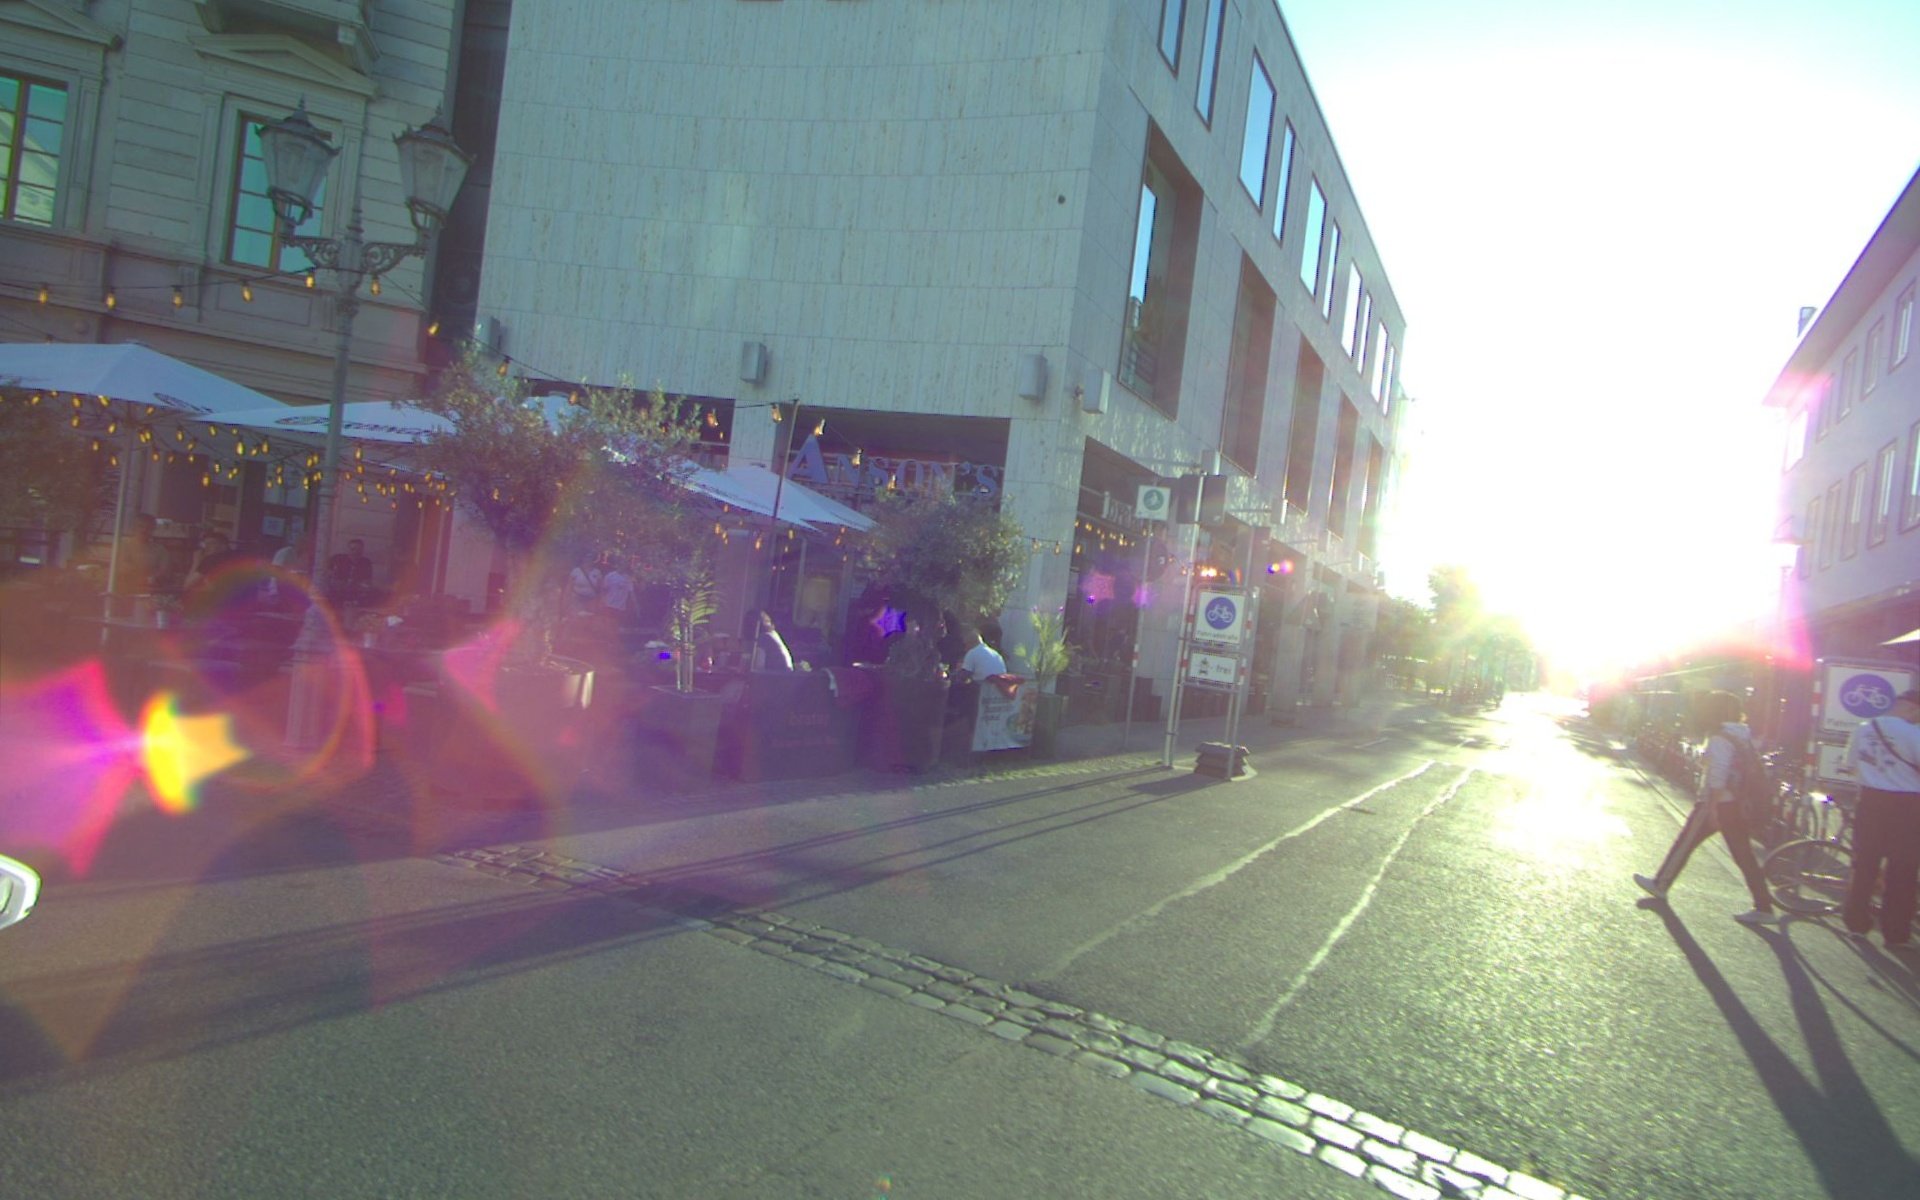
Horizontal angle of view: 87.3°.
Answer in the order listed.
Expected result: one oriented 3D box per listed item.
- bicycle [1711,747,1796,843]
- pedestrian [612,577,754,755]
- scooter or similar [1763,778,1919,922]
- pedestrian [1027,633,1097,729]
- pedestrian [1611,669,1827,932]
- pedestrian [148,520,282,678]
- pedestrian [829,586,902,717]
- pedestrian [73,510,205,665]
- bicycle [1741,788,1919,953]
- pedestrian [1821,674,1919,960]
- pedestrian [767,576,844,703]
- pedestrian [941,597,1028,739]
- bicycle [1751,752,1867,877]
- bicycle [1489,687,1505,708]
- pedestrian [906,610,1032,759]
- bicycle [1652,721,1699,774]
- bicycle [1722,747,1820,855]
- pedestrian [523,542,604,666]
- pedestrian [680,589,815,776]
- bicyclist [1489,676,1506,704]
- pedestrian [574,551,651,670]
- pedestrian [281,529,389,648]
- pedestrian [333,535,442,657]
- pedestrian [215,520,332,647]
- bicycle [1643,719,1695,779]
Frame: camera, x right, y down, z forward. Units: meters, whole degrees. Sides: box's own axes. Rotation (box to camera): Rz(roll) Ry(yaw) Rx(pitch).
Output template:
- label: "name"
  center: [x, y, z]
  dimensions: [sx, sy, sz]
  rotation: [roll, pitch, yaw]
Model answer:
- label: "bicycle"
  center: [11.894, 2.888, 15.133]
  dimensions: [0.513, 1.155, 1.962]
  rotation: [7, 0, 27]
- label: "pedestrian"
  center: [-2.519, 0.589, 9.165]
  dimensions: [0.851, 1.465, 0.722]
  rotation: [7, 0, 33]
- label: "scooter or similar"
  center: [8.151, 2.259, 9.182]
  dimensions: [1.187, 1.024, 0.485]
  rotation: [7, 0, 41]
- label: "pedestrian"
  center: [1.590, 1.261, 15.642]
  dimensions: [0.680, 1.392, 0.661]
  rotation: [7, 0, 42]
- label: "pedestrian"
  center: [5.823, 1.495, 7.739]
  dimensions: [0.912, 1.762, 0.926]
  rotation: [7, 0, -34]
- label: "pedestrian"
  center: [-7.517, -0.005, 10.153]
  dimensions: [0.851, 1.465, 0.722]
  rotation: [7, 0, 33]
- label: "pedestrian"
  center: [-1.359, 0.735, 14.570]
  dimensions: [0.703, 1.768, 0.710]
  rotation: [7, 0, 8]
- label: "pedestrian"
  center: [-8.456, -0.123, 10.371]
  dimensions: [0.851, 1.465, 0.722]
  rotation: [7, 0, 33]
- label: "bicycle"
  center: [6.856, 2.028, 7.377]
  dimensions: [0.471, 0.945, 1.656]
  rotation: [7, 0, -43]
- label: "pedestrian"
  center: [6.875, 1.556, 7.349]
  dimensions: [0.618, 1.952, 0.644]
  rotation: [7, 0, 33]
- label: "pedestrian"
  center: [-2.281, 0.588, 14.929]
  dimensions: [0.703, 1.768, 0.710]
  rotation: [7, 0, 16]
- label: "pedestrian"
  center: [0.334, 0.896, 13.392]
  dimensions: [0.698, 1.768, 0.715]
  rotation: [7, 0, 32]
- label: "bicycle"
  center: [10.080, 2.498, 12.013]
  dimensions: [0.513, 1.155, 1.962]
  rotation: [7, 0, 27]
- label: "bicycle"
  center: [34.499, 6.262, 64.633]
  dimensions: [0.785, 1.231, 2.231]
  rotation: [7, -1, 28]
- label: "pedestrian"
  center: [0.117, 0.925, 11.214]
  dimensions: [0.928, 1.465, 0.971]
  rotation: [7, 0, 25]
- label: "bicycle"
  center: [19.536, 3.997, 27.507]
  dimensions: [0.786, 1.232, 2.228]
  rotation: [7, -1, 32]
- label: "bicycle"
  center: [10.966, 2.682, 13.662]
  dimensions: [0.513, 1.155, 1.962]
  rotation: [7, 0, 27]
- label: "pedestrian"
  center: [-6.243, 0.054, 15.831]
  dimensions: [0.724, 1.824, 0.970]
  rotation: [7, 0, -42]
- label: "pedestrian"
  center: [-1.829, 0.700, 8.688]
  dimensions: [0.682, 1.465, 0.722]
  rotation: [7, 0, 33]
- label: "bicyclist"
  center: [34.524, 5.792, 64.581]
  dimensions: [0.785, 1.710, 0.898]
  rotation: [7, 0, 29]
- label: "pedestrian"
  center: [-5.660, 0.167, 16.358]
  dimensions: [0.725, 1.824, 0.840]
  rotation: [7, 0, -42]
- label: "pedestrian"
  center: [-8.407, -0.143, 13.537]
  dimensions: [0.837, 1.465, 0.774]
  rotation: [7, 0, 25]
- label: "pedestrian"
  center: [-7.501, -0.044, 13.199]
  dimensions: [0.837, 1.465, 0.774]
  rotation: [7, 0, 25]
- label: "pedestrian"
  center: [-8.657, -0.200, 12.700]
  dimensions: [0.837, 1.465, 0.774]
  rotation: [7, 0, 23]
- label: "bicycle"
  center: [17.422, 3.636, 24.758]
  dimensions: [0.786, 1.232, 2.228]
  rotation: [7, -1, 32]
